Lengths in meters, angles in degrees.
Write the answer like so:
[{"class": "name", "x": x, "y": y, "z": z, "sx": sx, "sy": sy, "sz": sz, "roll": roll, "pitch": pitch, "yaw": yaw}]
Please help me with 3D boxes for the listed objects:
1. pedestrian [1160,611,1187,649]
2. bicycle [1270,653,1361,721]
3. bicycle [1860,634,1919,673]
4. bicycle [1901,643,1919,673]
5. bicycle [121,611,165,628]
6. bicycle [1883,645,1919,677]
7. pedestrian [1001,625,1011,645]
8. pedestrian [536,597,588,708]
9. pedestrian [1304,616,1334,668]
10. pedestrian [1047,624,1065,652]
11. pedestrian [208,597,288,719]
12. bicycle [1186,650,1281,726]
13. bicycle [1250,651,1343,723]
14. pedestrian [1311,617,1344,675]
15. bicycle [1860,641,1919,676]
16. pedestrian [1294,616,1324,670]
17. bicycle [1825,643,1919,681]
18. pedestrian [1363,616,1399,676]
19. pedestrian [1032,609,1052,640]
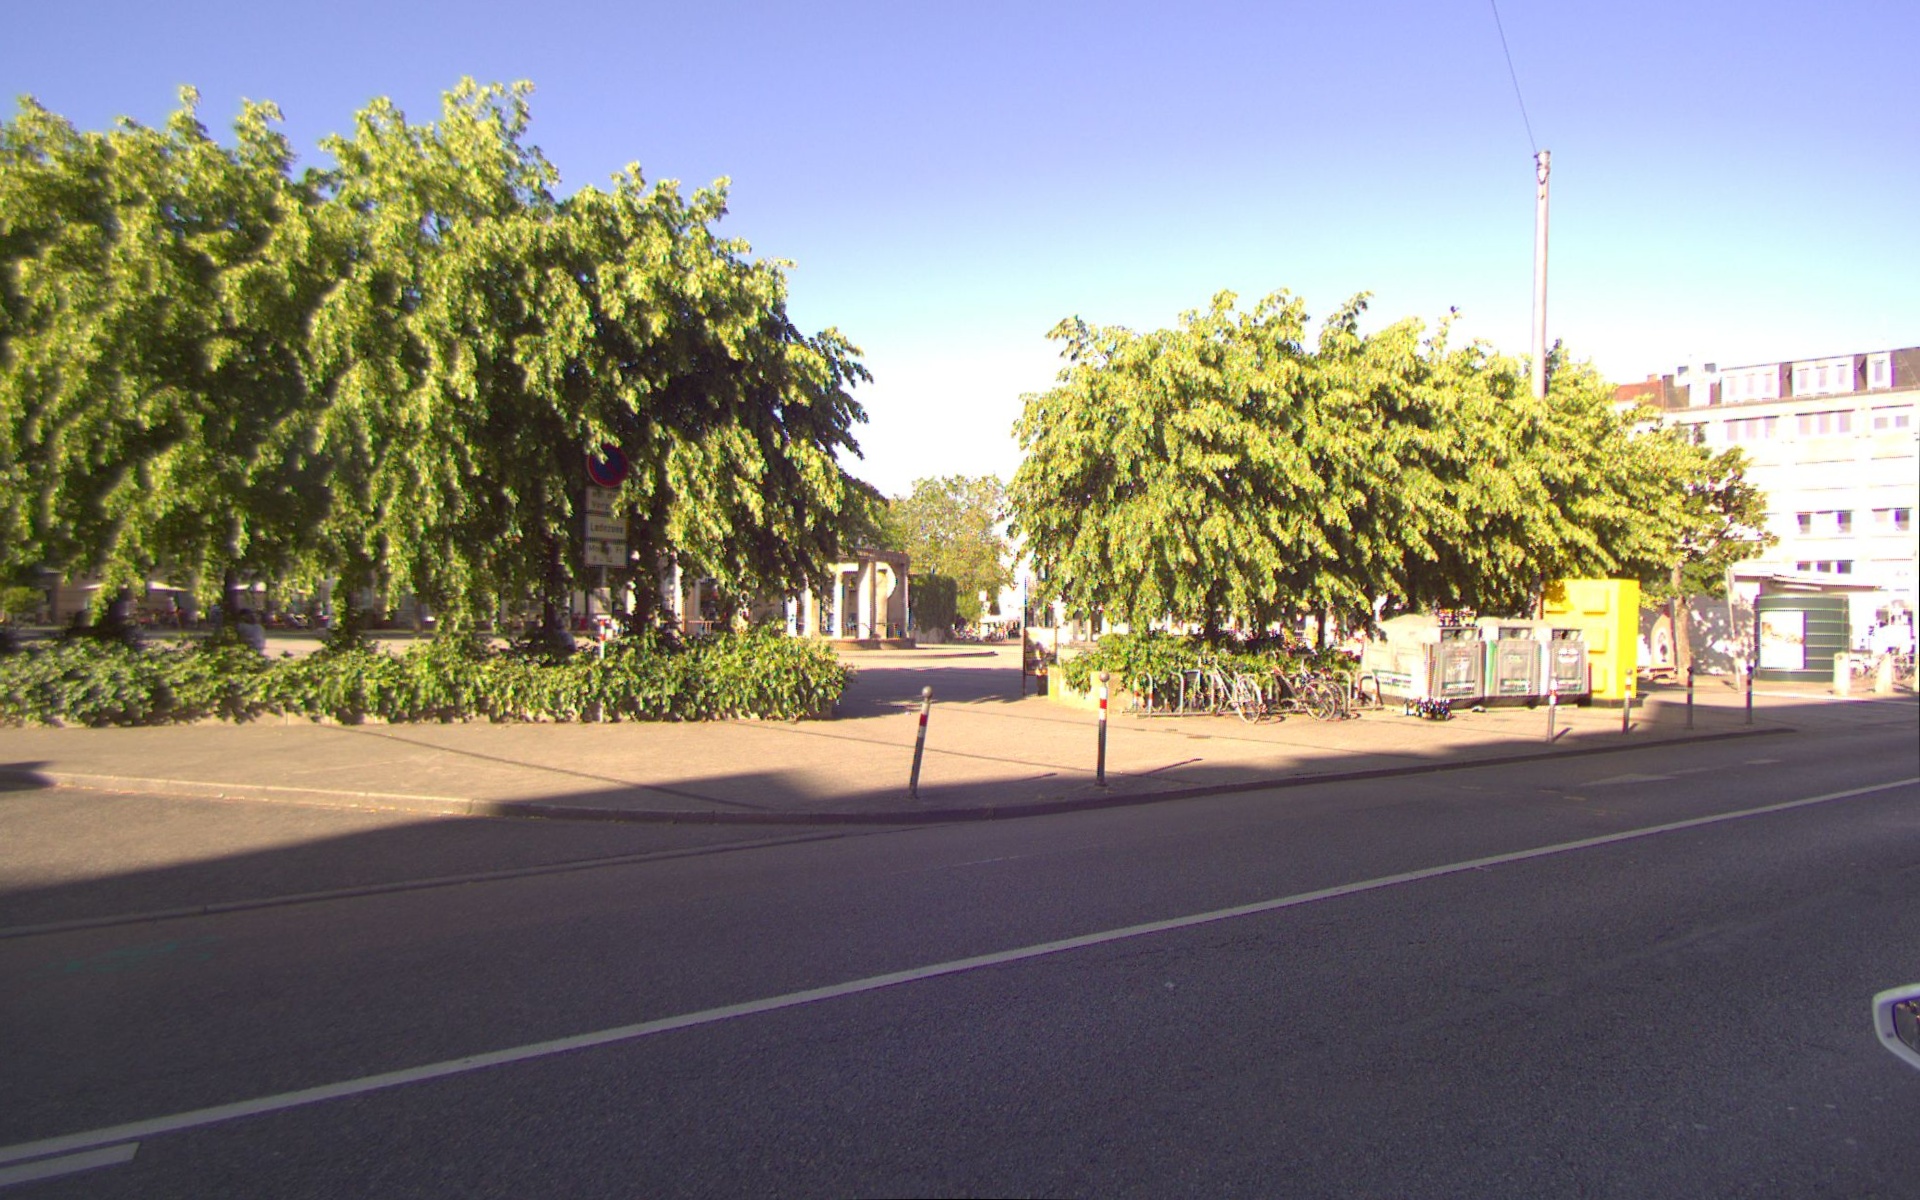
[{"class": "pedestrian", "x": 11.780, "y": 1.639, "z": 55.456, "sx": 0.890, "sy": 2.040, "sz": 1.280, "roll": 1, "pitch": -1, "yaw": -18}, {"class": "bicycle", "x": 5.789, "y": 1.395, "z": 16.434, "sx": 0.425, "sy": 0.971, "sz": 1.518, "roll": 0, "pitch": 0, "yaw": -28}, {"class": "bicycle", "x": 34.464, "y": 1.948, "z": 36.510, "sx": 0.913, "sy": 1.341, "sz": 2.461, "roll": 1, "pitch": -1, "yaw": -35}, {"class": "bicycle", "x": 38.661, "y": 2.319, "z": 39.497, "sx": 0.834, "sy": 1.171, "sz": 2.308, "roll": 1, "pitch": -1, "yaw": -34}, {"class": "bicycle", "x": -47.526, "y": 1.131, "z": 58.427, "sx": 0.578, "sy": 0.966, "sz": 1.903, "roll": 1, "pitch": -1, "yaw": 30}, {"class": "bicycle", "x": 36.737, "y": 2.331, "z": 38.018, "sx": 0.834, "sy": 1.171, "sz": 2.517, "roll": 1, "pitch": -1, "yaw": -34}, {"class": "pedestrian", "x": 4.694, "y": 3.545, "z": 102.138, "sx": 0.887, "sy": 2.040, "sz": 1.284, "roll": 1, "pitch": -1, "yaw": -4}, {"class": "pedestrian", "x": -6.545, "y": 0.847, "z": 16.556, "sx": 0.725, "sy": 1.781, "sz": 0.895, "roll": 1, "pitch": -1, "yaw": -19}, {"class": "pedestrian", "x": 14.235, "y": 1.645, "z": 39.860, "sx": 0.886, "sy": 2.040, "sz": 0.993, "roll": 1, "pitch": -1, "yaw": 7}, {"class": "pedestrian", "x": 7.328, "y": 2.899, "z": 76.514, "sx": 0.890, "sy": 2.040, "sz": 1.397, "roll": 1, "pitch": 0, "yaw": -17}, {"class": "pedestrian", "x": -10.767, "y": 0.857, "z": 15.220, "sx": 0.725, "sy": 1.781, "sz": 0.895, "roll": 1, "pitch": -1, "yaw": -19}, {"class": "bicycle", "x": 4.202, "y": 1.331, "z": 15.530, "sx": 0.425, "sy": 1.031, "sz": 1.590, "roll": 1, "pitch": 0, "yaw": -28}, {"class": "bicycle", "x": 5.371, "y": 1.364, "z": 16.114, "sx": 0.425, "sy": 1.036, "sz": 1.561, "roll": 1, "pitch": -1, "yaw": -28}, {"class": "pedestrian", "x": 13.111, "y": 1.633, "z": 35.870, "sx": 0.886, "sy": 2.040, "sz": 0.993, "roll": 1, "pitch": -1, "yaw": 7}, {"class": "bicycle", "x": 33.104, "y": 2.041, "z": 35.021, "sx": 0.833, "sy": 1.171, "sz": 2.449, "roll": 1, "pitch": -1, "yaw": -31}, {"class": "pedestrian", "x": 13.599, "y": 1.665, "z": 39.131, "sx": 0.886, "sy": 2.040, "sz": 0.993, "roll": 1, "pitch": -1, "yaw": 7}, {"class": "bicycle", "x": 30.888, "y": 2.061, "z": 33.856, "sx": 0.833, "sy": 1.171, "sz": 2.493, "roll": 1, "pitch": -1, "yaw": -31}, {"class": "pedestrian", "x": 14.618, "y": 1.593, "z": 34.867, "sx": 0.886, "sy": 2.040, "sz": 0.993, "roll": 1, "pitch": -1, "yaw": 7}, {"class": "pedestrian", "x": 5.412, "y": 1.627, "z": 66.570, "sx": 0.893, "sy": 2.040, "sz": 0.986, "roll": 1, "pitch": 0, "yaw": -27}]
